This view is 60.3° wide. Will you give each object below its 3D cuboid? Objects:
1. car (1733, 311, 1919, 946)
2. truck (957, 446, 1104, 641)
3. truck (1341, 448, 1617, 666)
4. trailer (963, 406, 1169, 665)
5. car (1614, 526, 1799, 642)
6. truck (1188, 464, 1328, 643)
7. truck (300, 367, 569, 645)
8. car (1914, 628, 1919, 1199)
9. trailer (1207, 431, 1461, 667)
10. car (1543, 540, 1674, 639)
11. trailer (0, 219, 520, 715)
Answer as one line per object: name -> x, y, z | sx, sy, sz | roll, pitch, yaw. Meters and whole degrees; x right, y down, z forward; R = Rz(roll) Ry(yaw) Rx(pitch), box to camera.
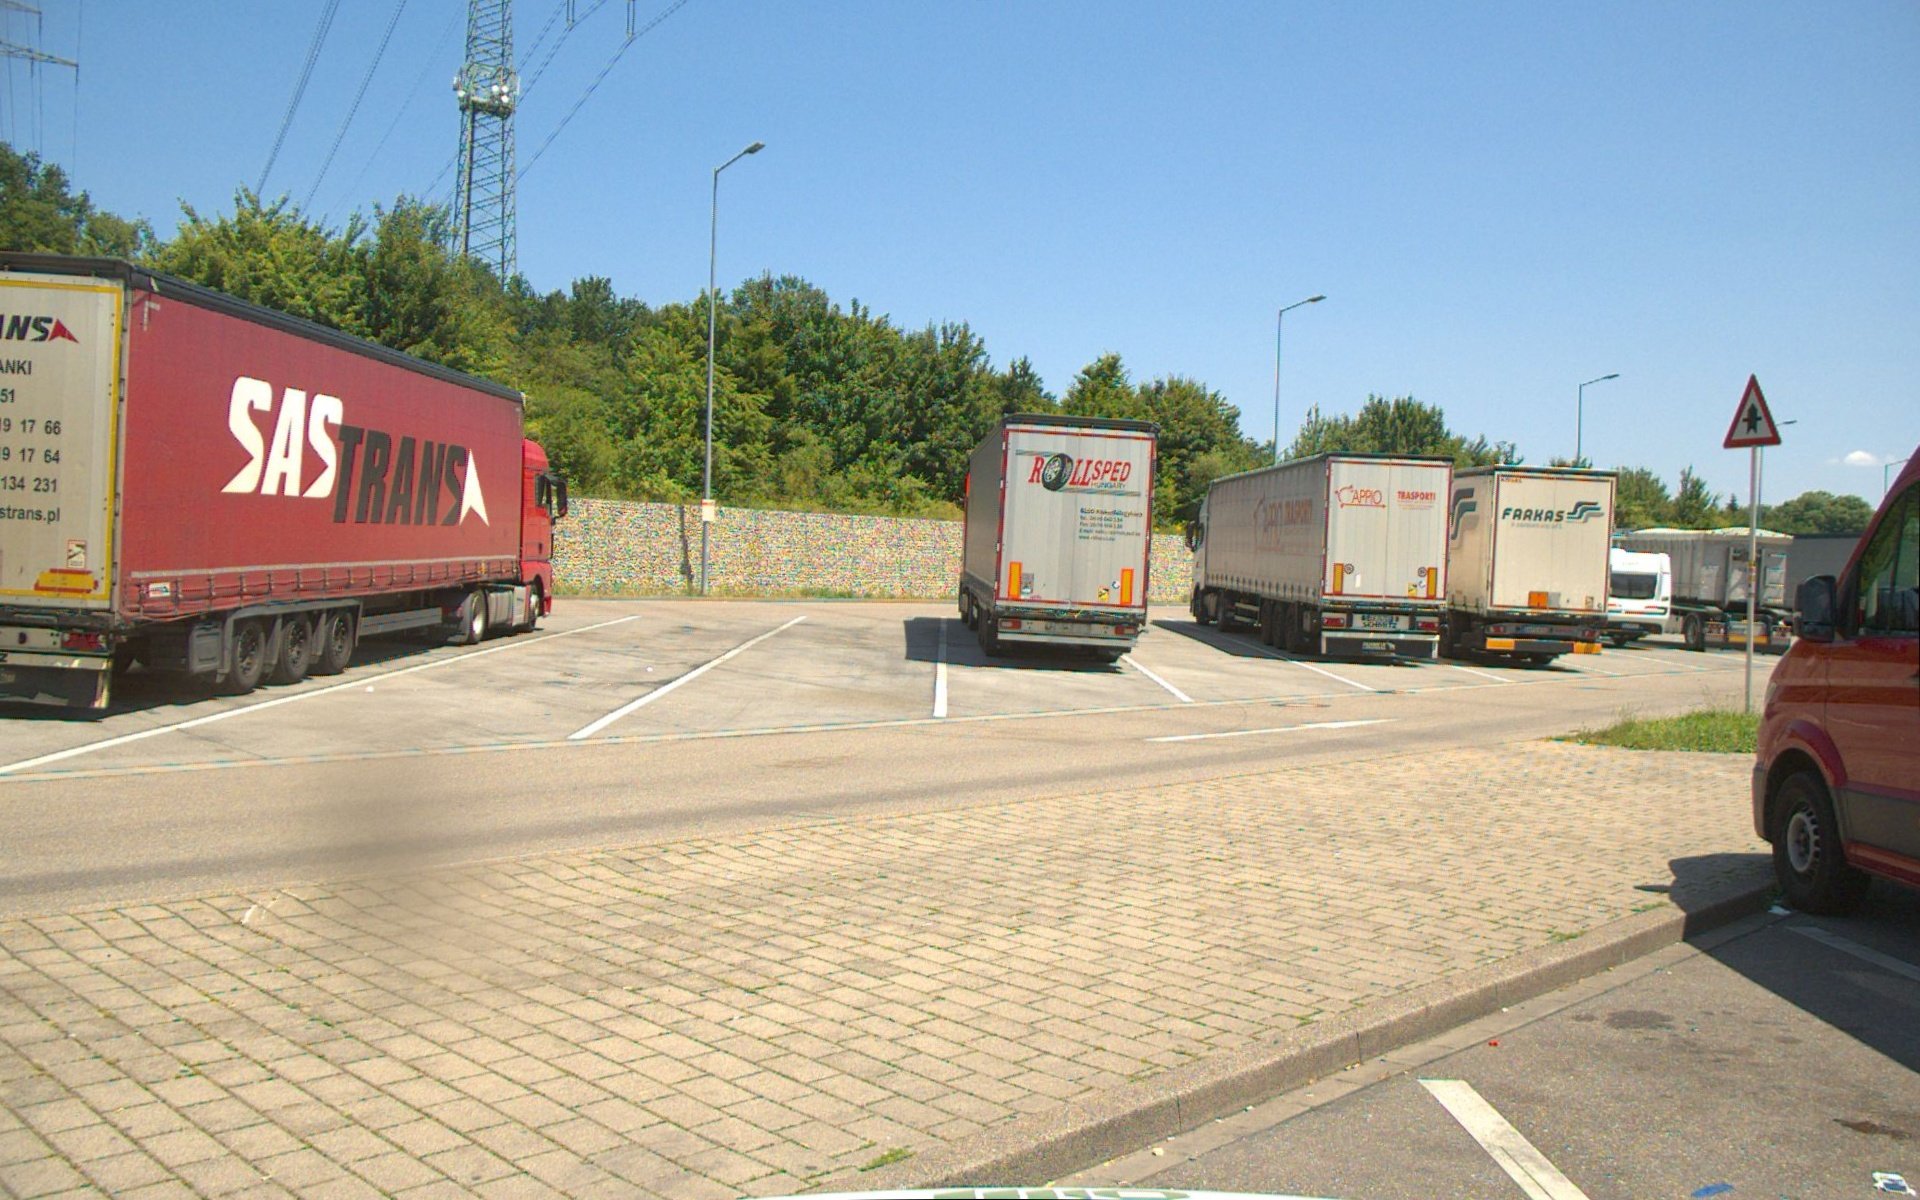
car -> 4.963, 0.154, 5.592 | 1.952, 2.679, 6.385 | 1, 1, 3
truck -> 1.473, -1.241, 37.700 | 2.814, 4.050, 6.027 | 1, 1, -2
truck -> 11.715, -0.835, 38.930 | 2.534, 4.299, 11.967 | 1, 0, -1
trailer -> 1.703, -1.125, 31.996 | 2.839, 4.083, 11.313 | 1, 1, -2
car -> 21.701, -0.498, 48.480 | 2.448, 3.128, 6.350 | 1, 1, -1
truck -> 8.024, -1.247, 45.217 | 2.607, 4.530, 5.863 | 1, 1, -1
truck -> -8.726, -1.493, 28.227 | 2.749, 4.205, 5.893 | 1, 1, -1
car -> 2.610, 0.798, 0.928 | 1.742, 1.483, 3.680 | 1, 0, -7
trailer -> 8.174, -1.099, 38.337 | 2.627, 4.530, 12.826 | 1, 1, -1
car -> 18.235, -0.270, 46.722 | 2.072, 2.645, 3.999 | 1, 0, -1
trailer -> -8.640, -1.290, 20.972 | 2.743, 4.293, 13.200 | 1, 1, -1
